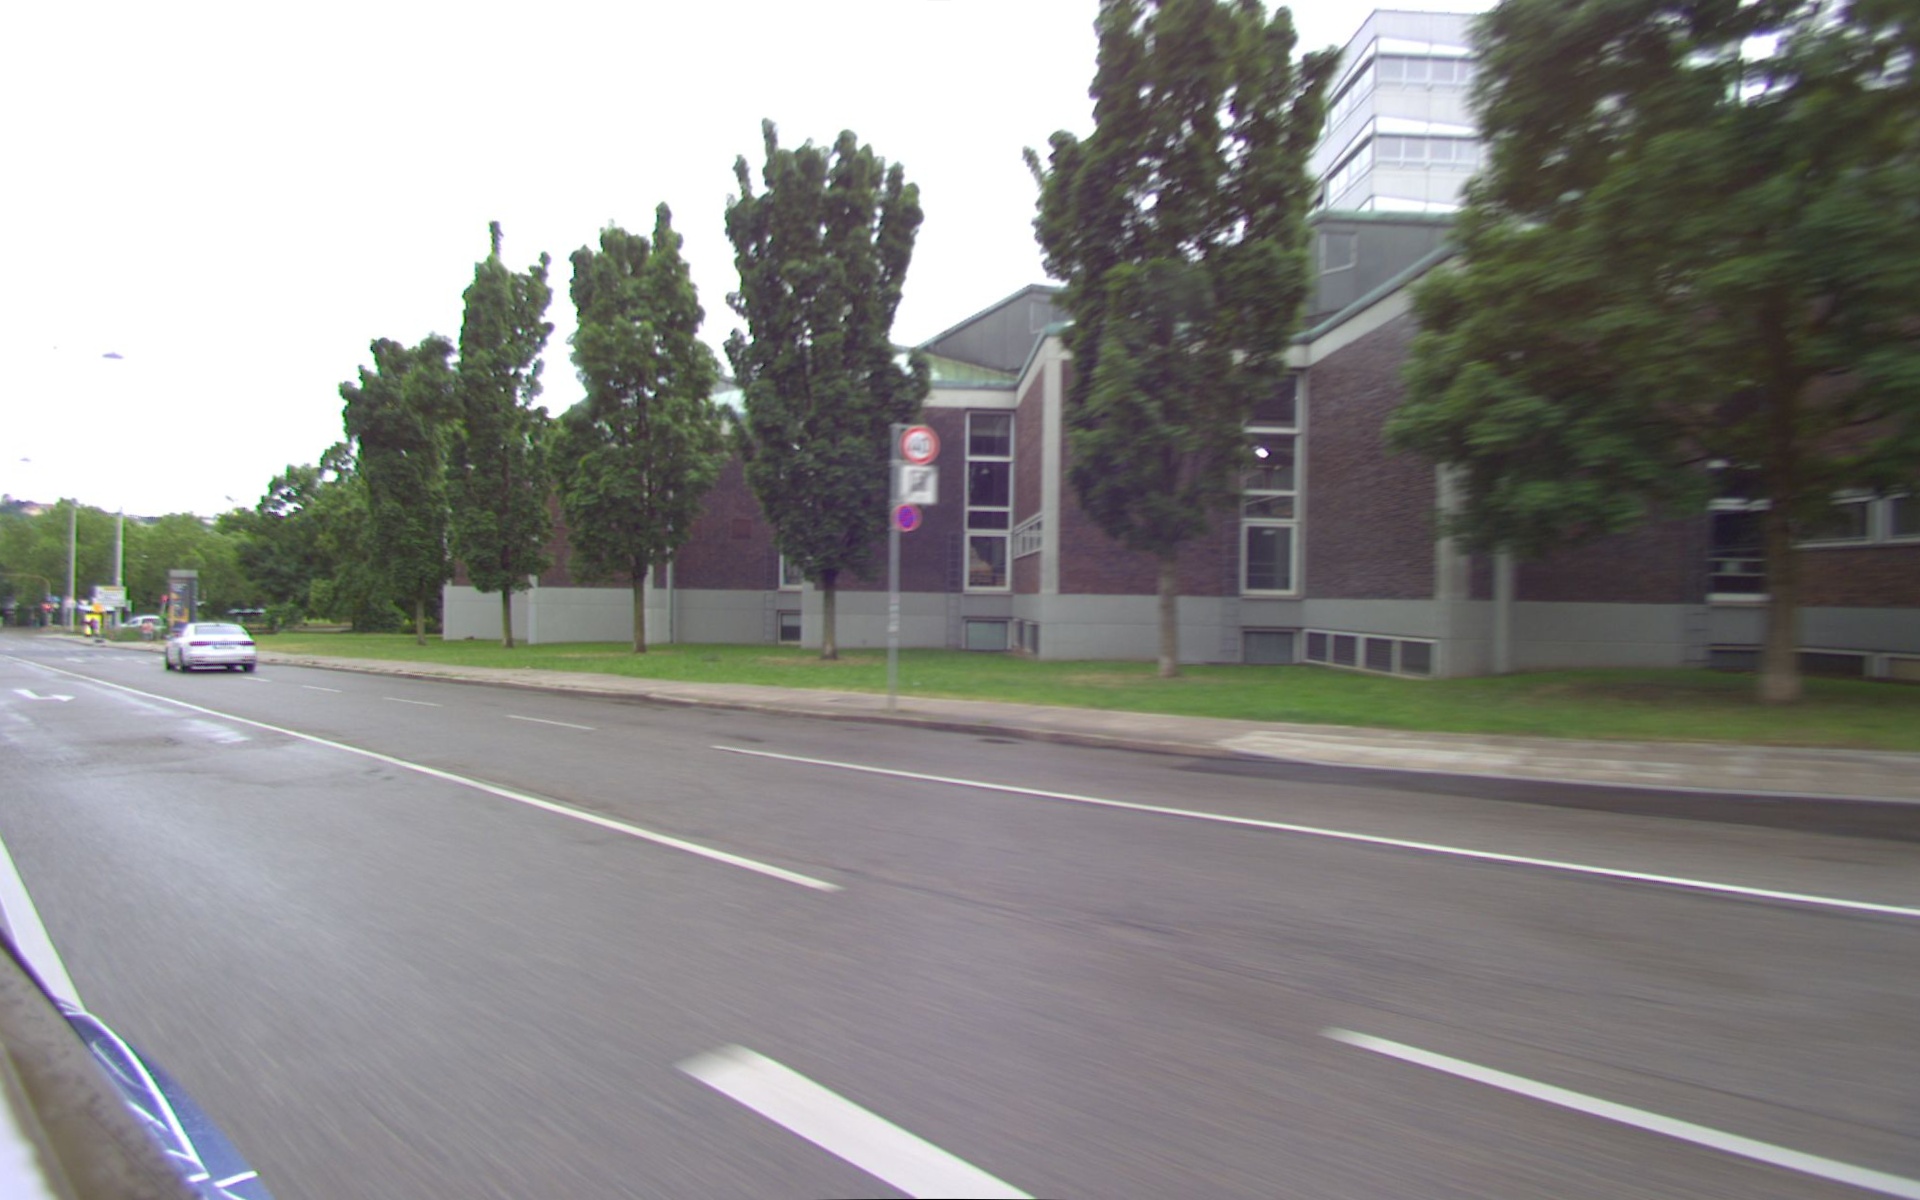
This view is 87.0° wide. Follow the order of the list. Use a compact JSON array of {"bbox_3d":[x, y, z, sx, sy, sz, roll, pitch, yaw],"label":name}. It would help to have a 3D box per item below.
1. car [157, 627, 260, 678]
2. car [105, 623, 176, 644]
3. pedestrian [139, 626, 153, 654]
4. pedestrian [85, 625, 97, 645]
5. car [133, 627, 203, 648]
[{"bbox_3d":[-23.923,1.641,32.143,1.860,1.502,5.223,4,-4,-44],"label":"car"},{"bbox_3d":[-74.749,3.049,92.357,4.651,1.768,2.019,-1,0,-5],"label":"car"},{"bbox_3d":[-49.709,2.445,61.787,0.661,1.699,0.915,0,0,-40],"label":"pedestrian"},{"bbox_3d":[-75.208,3.052,87.567,0.641,1.708,0.622,-1,0,35],"label":"pedestrian"},{"bbox_3d":[-62.891,2.979,80.370,4.475,1.621,1.863,-1,0,9],"label":"car"}]
